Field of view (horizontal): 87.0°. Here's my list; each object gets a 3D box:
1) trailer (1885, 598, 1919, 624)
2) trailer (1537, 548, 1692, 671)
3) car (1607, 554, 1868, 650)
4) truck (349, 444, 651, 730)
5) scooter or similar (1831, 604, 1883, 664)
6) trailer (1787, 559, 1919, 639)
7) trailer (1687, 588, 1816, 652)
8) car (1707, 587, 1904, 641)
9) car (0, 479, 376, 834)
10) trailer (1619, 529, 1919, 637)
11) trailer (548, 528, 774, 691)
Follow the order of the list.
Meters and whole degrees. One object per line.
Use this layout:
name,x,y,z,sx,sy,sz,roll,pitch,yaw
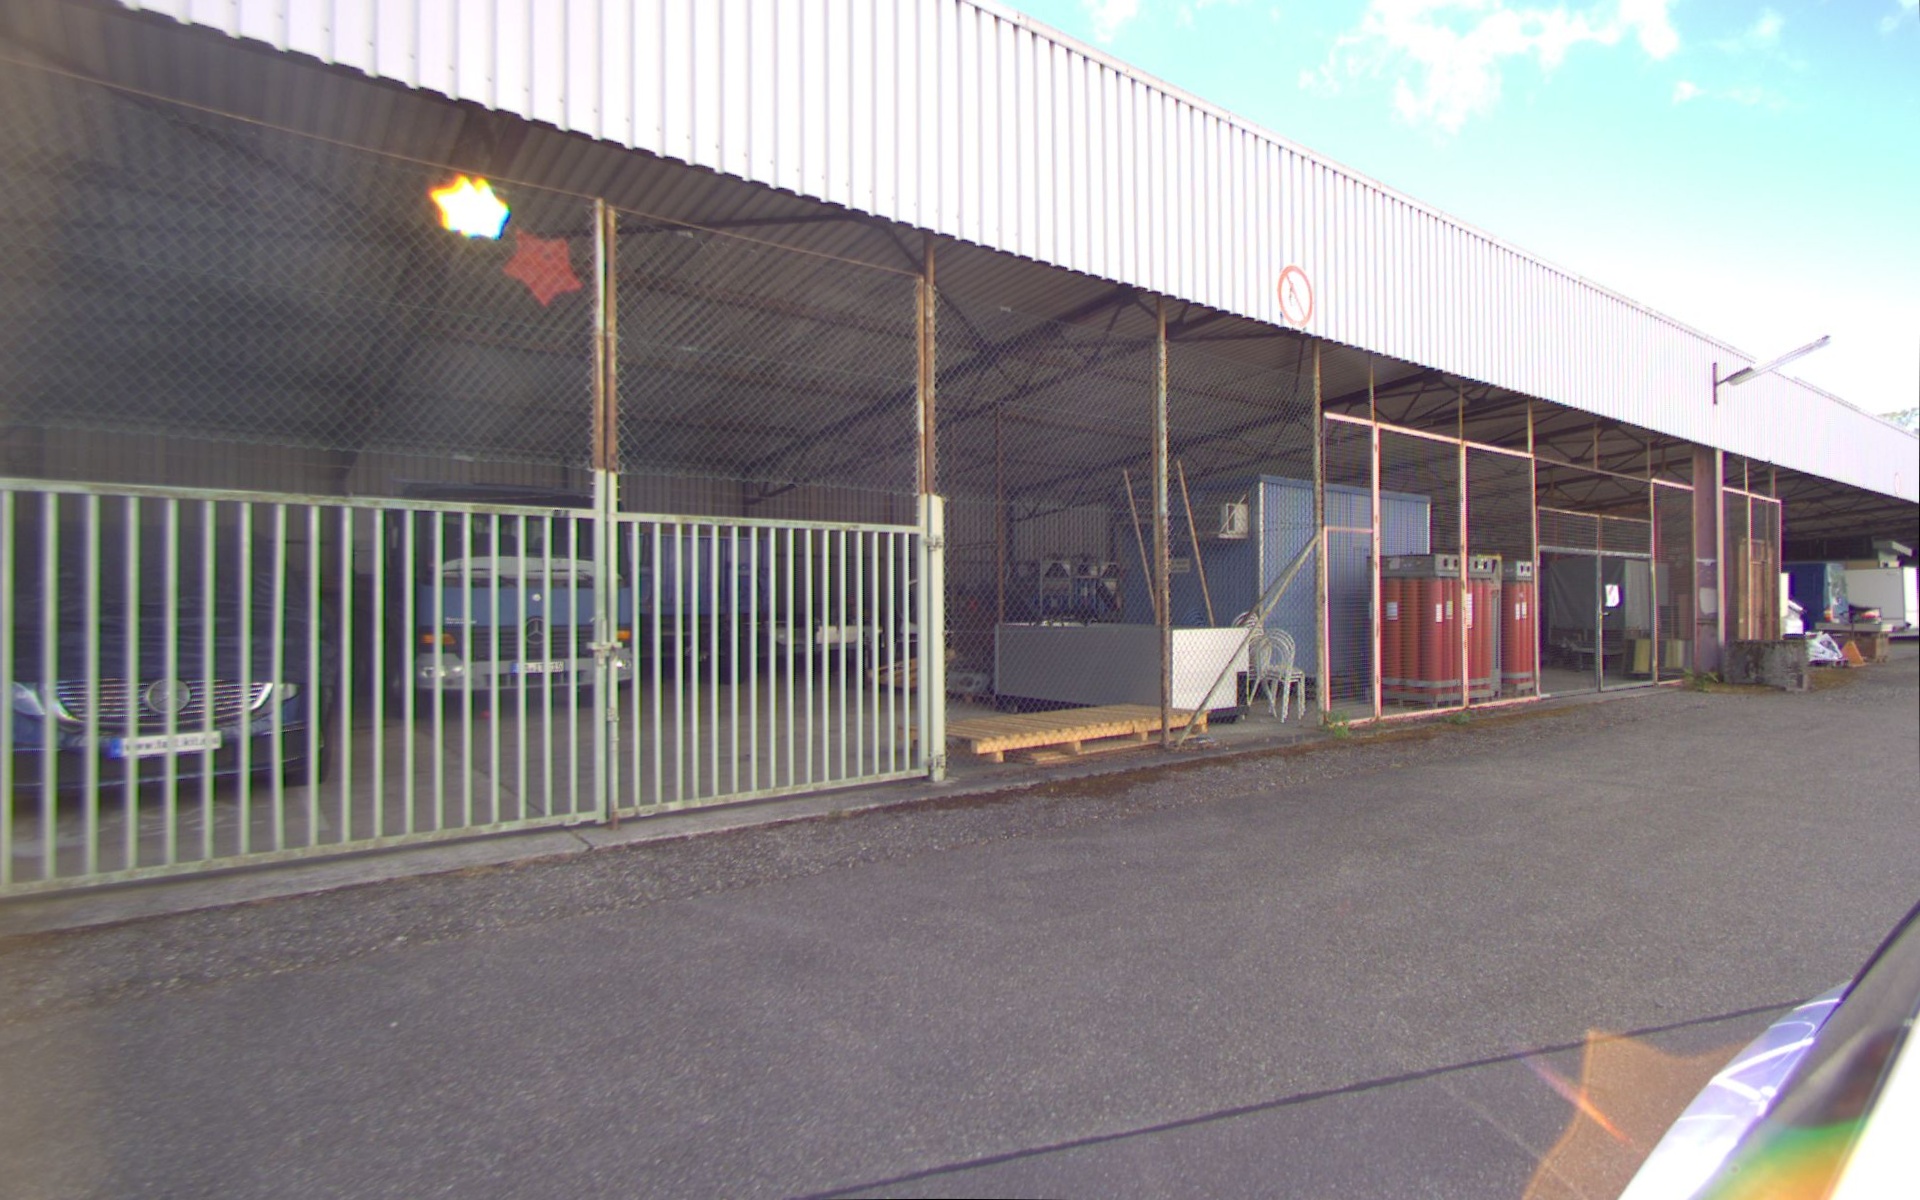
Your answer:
trailer,44.958,0.501,44.759,1.972,1.147,5.748,0,0,-38
trailer,12.769,0.131,19.686,3.459,2.170,1.580,-1,1,-40
car,20.727,0.022,27.235,2.046,2.326,5.230,0,0,-37
truck,-5.987,-0.143,12.663,2.322,2.740,5.582,0,0,-37
scooter or similar,18.429,0.676,20.784,1.563,1.149,0.522,-1,1,-38
trailer,28.604,-0.040,31.192,1.657,2.364,4.556,0,1,-36
trailer,19.360,0.453,24.778,1.610,1.481,2.101,-1,1,-34
car,25.683,0.373,30.858,1.832,1.451,4.353,-1,2,-40
car,-6.443,0.314,7.940,2.239,1.942,5.172,-1,0,-42
trailer,29.009,-0.609,34.824,2.625,3.336,10.326,0,1,-36
trailer,-4.676,0.117,15.549,2.417,2.165,3.416,0,0,-35
